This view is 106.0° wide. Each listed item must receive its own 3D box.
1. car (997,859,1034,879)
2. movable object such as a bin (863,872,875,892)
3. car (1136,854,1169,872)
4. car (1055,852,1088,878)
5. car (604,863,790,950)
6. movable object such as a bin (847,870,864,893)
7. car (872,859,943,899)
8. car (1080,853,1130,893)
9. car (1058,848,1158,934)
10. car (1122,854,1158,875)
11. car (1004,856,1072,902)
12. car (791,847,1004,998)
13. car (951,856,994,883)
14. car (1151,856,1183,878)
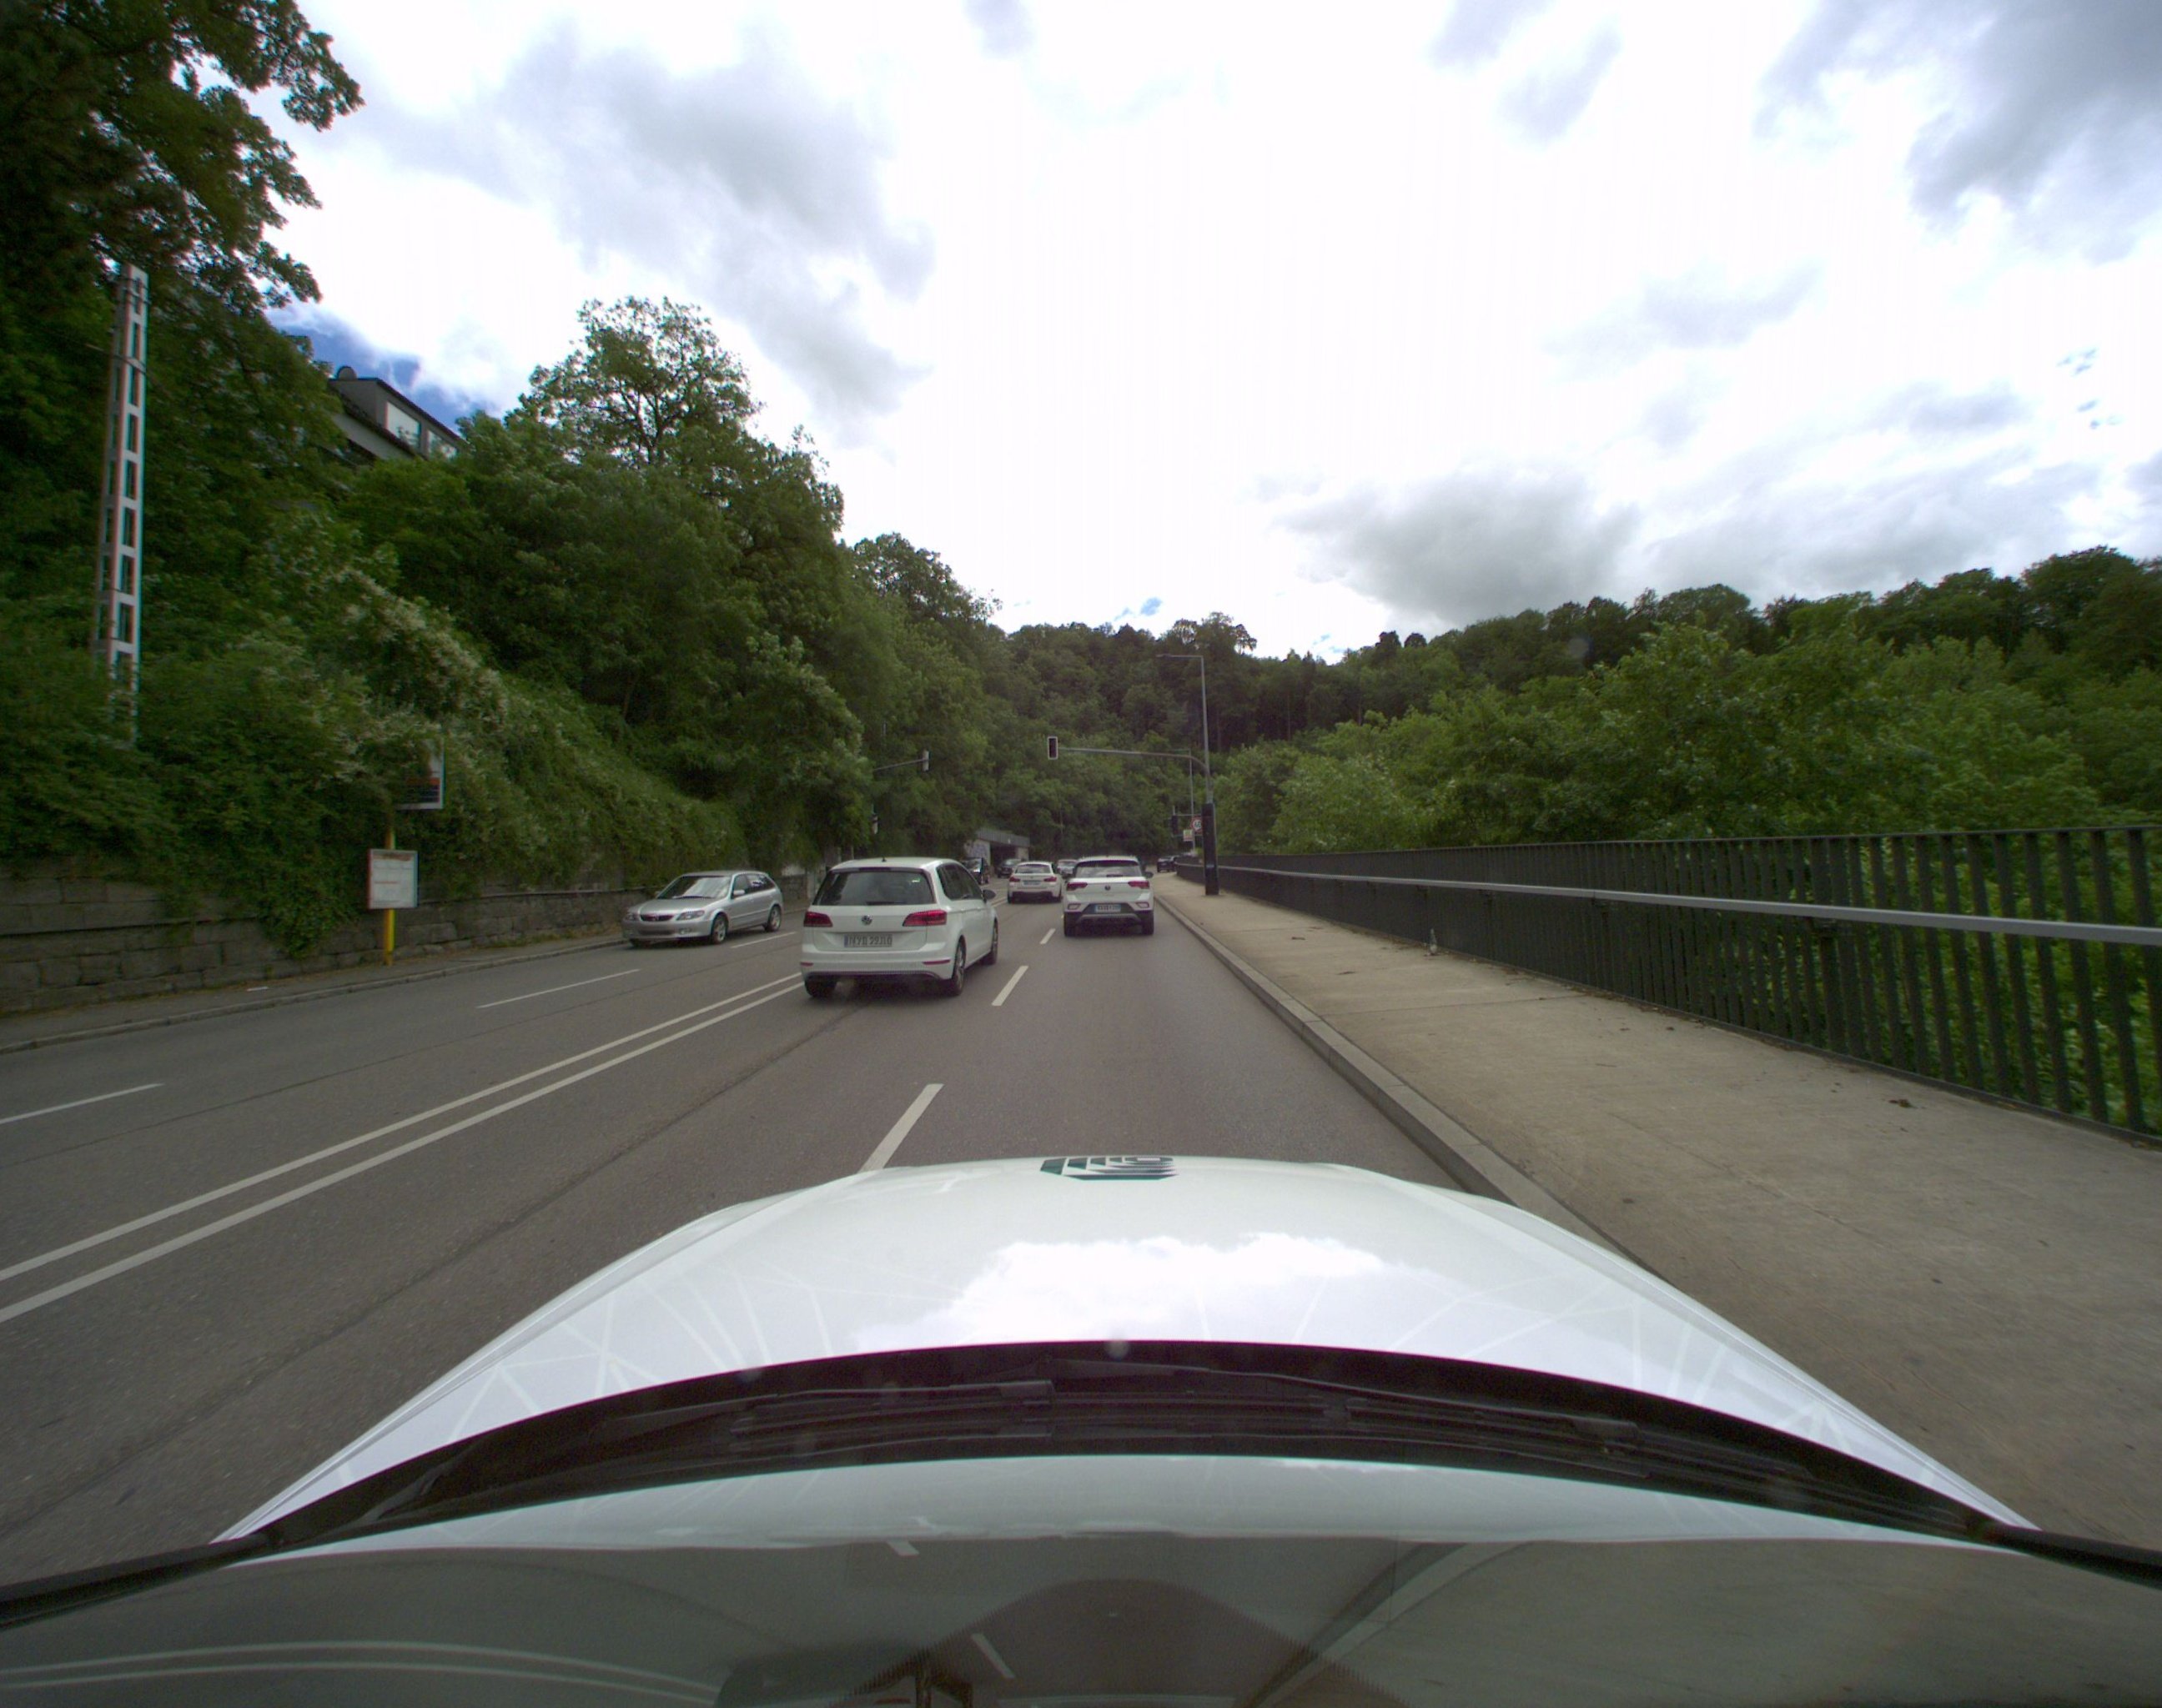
[{"bbox_3d":[-4.948,1.106,61.931,1.802,1.434,4.260,0,-1,10],"label":"car"},{"bbox_3d":[-10.017,1.308,38.417,0.425,0.950,0.479,0,-1,0],"label":"movable object such as a bin"},{"bbox_3d":[7.415,0.923,84.429,1.975,1.865,4.024,-1,0,29],"label":"car"},{"bbox_3d":[-0.579,0.731,52.229,1.855,1.595,4.002,0,-1,2],"label":"car"},{"bbox_3d":[-7.680,0.971,16.806,1.669,1.442,4.236,0,1,3],"label":"car"},{"bbox_3d":[-10.602,1.300,38.316,0.639,1.067,0.557,0,-1,0],"label":"movable object such as a bin"},{"bbox_3d":[-7.372,1.033,34.990,1.934,1.549,4.250,-2,-1,2],"label":"car"},{"bbox_3d":[1.208,0.884,39.114,1.982,1.843,4.159,0,-1,8],"label":"car"},{"bbox_3d":[0.638,0.713,17.188,1.806,1.539,4.012,-2,-1,4],"label":"car"},{"bbox_3d":[4.460,0.801,61.151,2.018,1.519,4.216,0,-1,13],"label":"car"},{"bbox_3d":[-1.491,0.853,29.789,1.985,1.557,4.684,0,0,3],"label":"car"},{"bbox_3d":[-2.120,0.730,10.656,1.714,1.554,4.276,-1,0,1],"label":"car"},{"bbox_3d":[-6.287,0.878,47.494,1.774,1.482,4.213,0,0,2],"label":"car"},{"bbox_3d":[8.068,1.229,76.303,1.976,2.014,4.021,0,-1,22],"label":"car"}]
